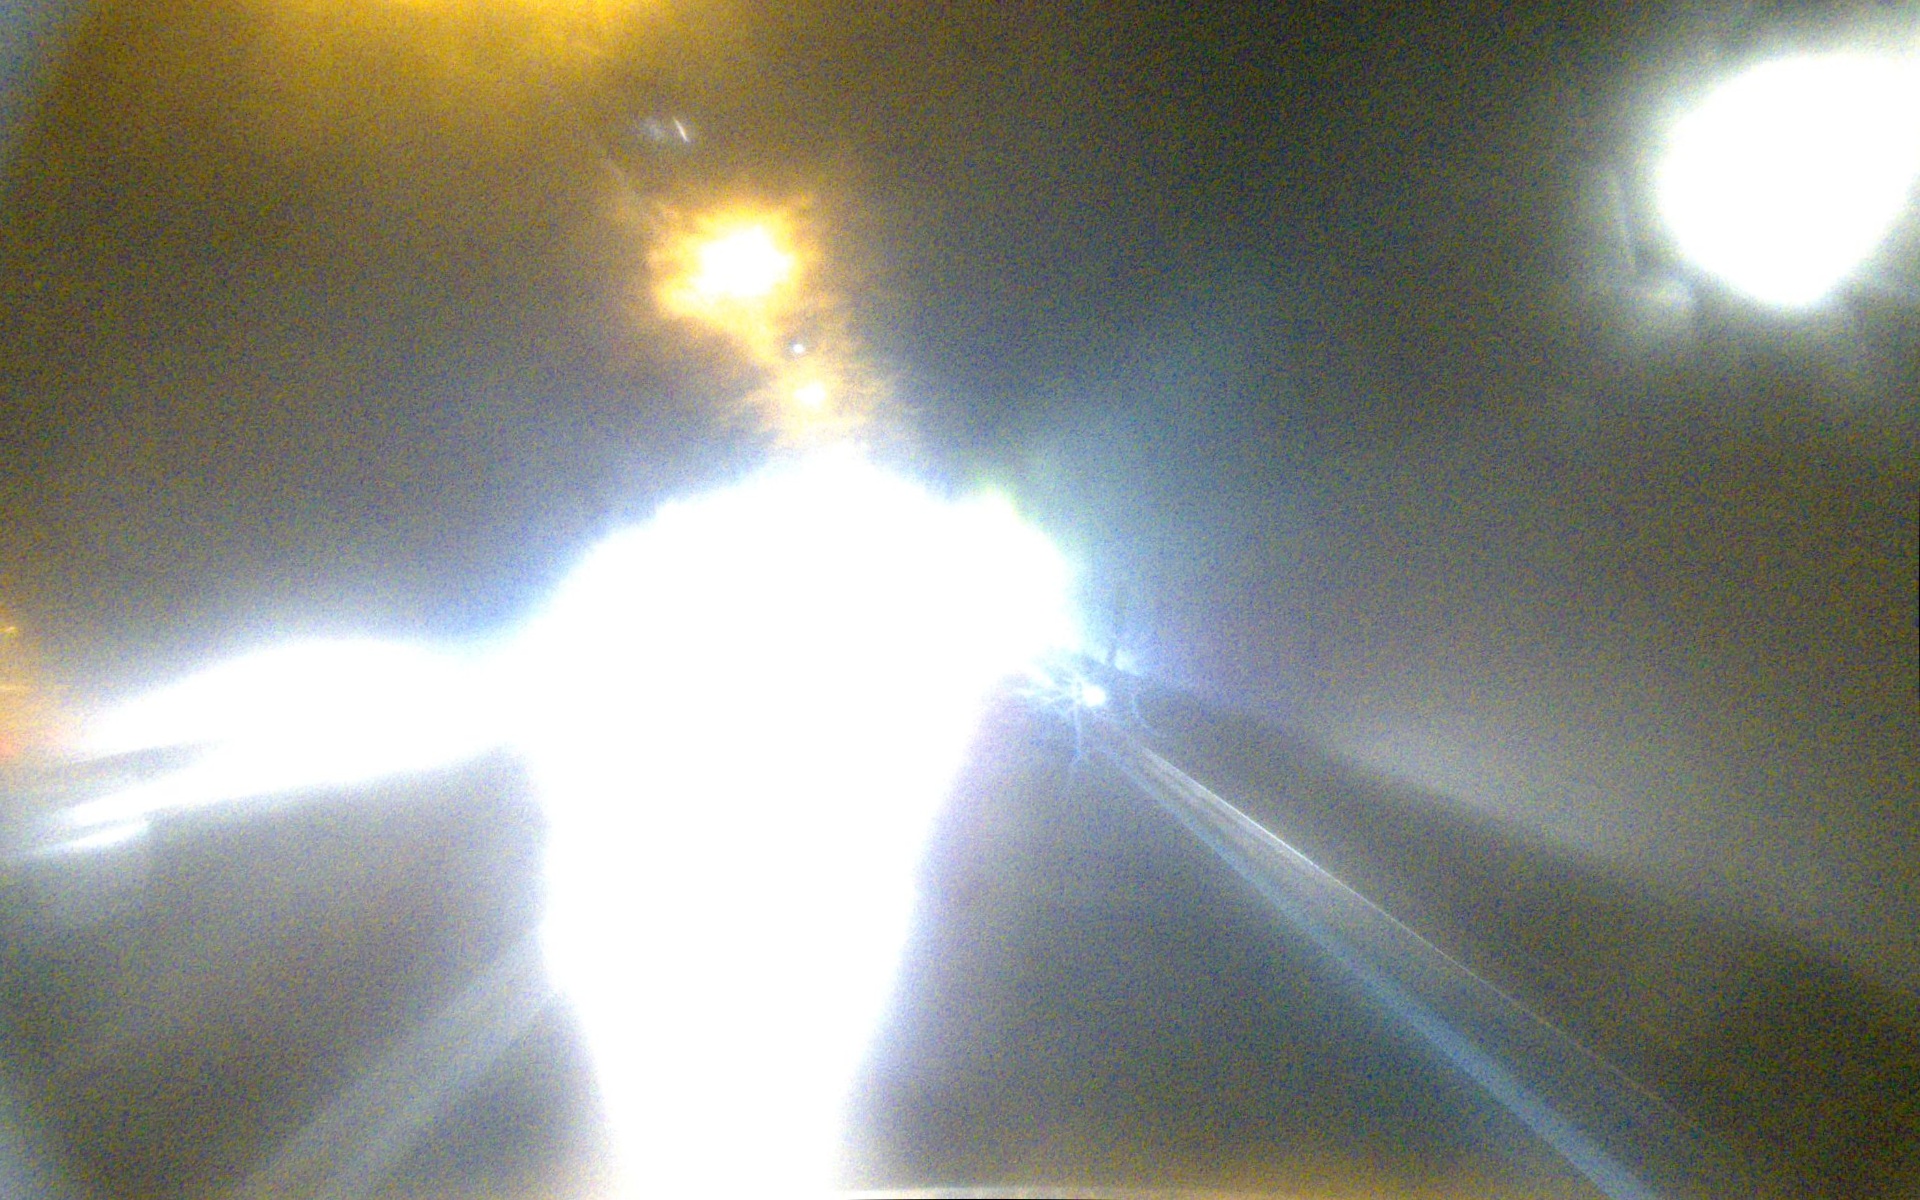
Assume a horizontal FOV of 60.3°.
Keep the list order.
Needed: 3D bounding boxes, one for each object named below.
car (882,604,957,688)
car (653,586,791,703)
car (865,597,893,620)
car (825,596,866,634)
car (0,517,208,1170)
[{"bbox_3d":[-0.911,0.993,37.795,1.602,1.788,4.144,1,0,-1],"label":"car"},{"bbox_3d":[-3.801,0.671,27.031,1.876,1.758,3.997,1,0,-4],"label":"car"},{"bbox_3d":[-5.434,0.548,111.374,1.713,1.506,4.474,1,0,-1],"label":"car"},{"bbox_3d":[-5.316,0.668,76.949,1.663,1.705,4.126,1,0,-1],"label":"car"},{"bbox_3d":[-3.355,0.629,3.226,1.745,1.705,4.560,1,0,-1],"label":"car"}]
